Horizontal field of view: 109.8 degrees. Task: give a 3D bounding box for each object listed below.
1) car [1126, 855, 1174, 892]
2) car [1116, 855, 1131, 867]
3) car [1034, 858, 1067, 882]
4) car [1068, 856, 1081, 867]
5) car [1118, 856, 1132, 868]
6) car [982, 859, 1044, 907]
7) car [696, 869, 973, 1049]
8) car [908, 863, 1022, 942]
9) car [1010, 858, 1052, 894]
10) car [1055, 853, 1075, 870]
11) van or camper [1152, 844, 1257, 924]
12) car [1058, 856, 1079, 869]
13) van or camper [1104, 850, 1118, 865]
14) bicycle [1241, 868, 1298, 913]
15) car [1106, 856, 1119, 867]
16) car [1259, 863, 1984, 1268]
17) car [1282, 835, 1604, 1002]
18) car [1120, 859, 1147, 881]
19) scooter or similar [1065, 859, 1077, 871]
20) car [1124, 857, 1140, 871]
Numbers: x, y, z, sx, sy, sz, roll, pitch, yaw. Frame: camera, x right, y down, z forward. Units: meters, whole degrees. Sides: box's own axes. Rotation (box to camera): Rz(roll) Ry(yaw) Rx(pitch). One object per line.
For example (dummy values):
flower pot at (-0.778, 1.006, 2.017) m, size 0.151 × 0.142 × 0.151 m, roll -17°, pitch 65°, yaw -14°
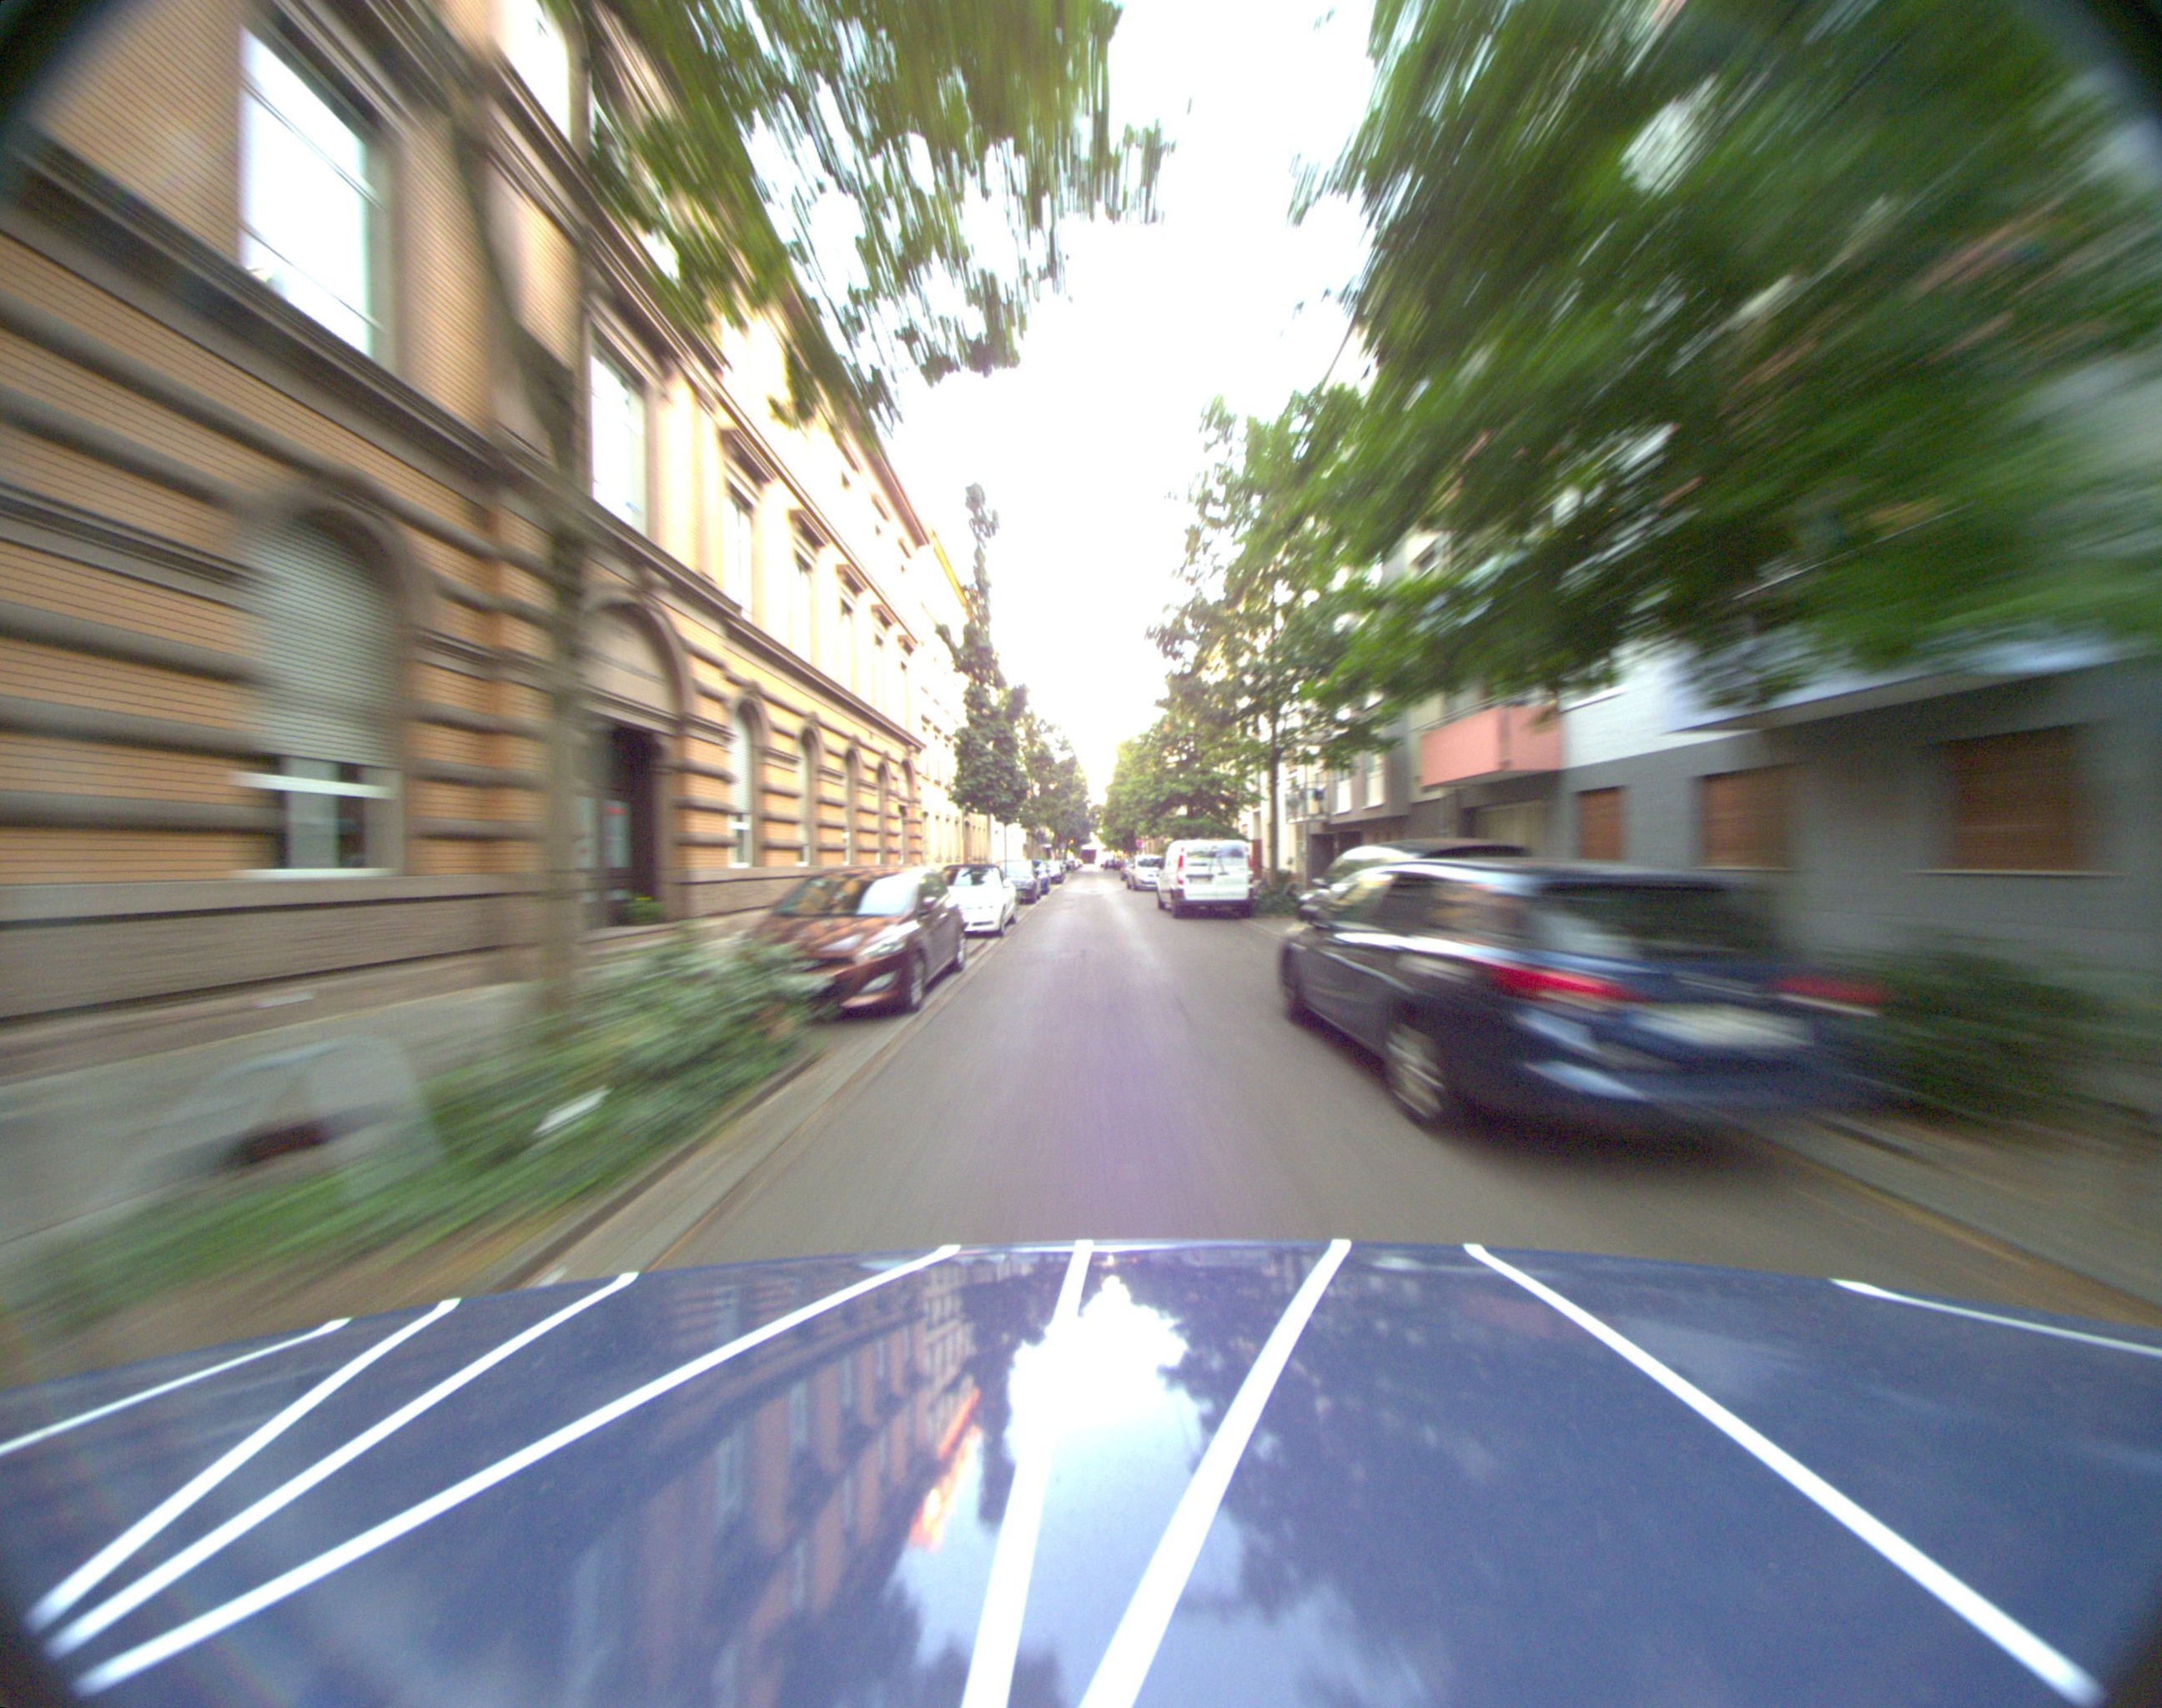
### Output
car at (3.127, 0.852, 35.112) m, size 1.668 × 1.554 × 3.999 m, roll -1°, pitch 0°, yaw -2°
car at (5.789, 0.992, 103.369) m, size 1.695 × 1.493 × 3.711 m, roll -3°, pitch 0°, yaw 0°
car at (-1.857, 0.989, 47.656) m, size 1.771 × 1.406 × 4.474 m, roll 1°, pitch 0°, yaw 1°
car at (-0.971, 1.101, 113.099) m, size 1.737 × 1.482 × 4.104 m, roll -1°, pitch 0°, yaw 1°
car at (5.774, 0.997, 99.545) m, size 1.523 × 1.493 × 3.561 m, roll -3°, pitch 0°, yaw 1°
car at (-2.226, 0.915, 25.844) m, size 1.716 × 1.469 × 4.192 m, roll -1°, pitch 0°, yaw 0°
car at (-2.433, 0.954, 8.672) m, size 1.726 × 1.441 × 4.214 m, roll 0°, pitch 0°, yaw 1°
car at (-2.320, 0.925, 16.289) m, size 1.698 × 1.393 × 4.646 m, roll 0°, pitch 0°, yaw 0°
car at (-2.099, 0.900, 32.809) m, size 1.632 × 1.458 × 4.245 m, roll -1°, pitch 0°, yaw -1°
car at (-1.782, 0.880, 85.874) m, size 2.018 × 1.822 × 4.811 m, roll 1°, pitch 0°, yaw 1°
van or camper at (3.058, 0.704, 19.847) m, size 1.881 × 1.832 × 4.752 m, roll -1°, pitch 0°, yaw -1°
car at (-1.673, 1.171, 103.716) m, size 2.804 × 1.590 × 1.801 m, roll 2°, pitch 0°, yaw 1°
van or camper at (5.010, 0.598, 127.762) m, size 2.225 × 2.416 × 5.660 m, roll -1°, pitch 0°, yaw 1°
bicycle at (5.177, 0.973, 20.825) m, size 0.697 × 1.157 × 1.827 m, roll 0°, pitch 0°, yaw 43°
car at (4.443, 1.040, 107.704) m, size 1.728 × 1.564 × 4.220 m, roll -1°, pitch 0°, yaw 1°
car at (2.689, 0.873, 5.284) m, size 1.835 × 1.508 × 4.516 m, roll -1°, pitch 0°, yaw 0°
car at (4.396, 0.672, 10.317) m, size 1.998 × 1.637 × 4.922 m, roll -3°, pitch 0°, yaw 1°
car at (3.560, 1.047, 51.854) m, size 1.584 × 1.411 × 3.753 m, roll -1°, pitch 0°, yaw 0°
scooter or similar at (-1.114, 1.180, 81.637) m, size 0.673 × 1.183 × 1.118 m, roll 2°, pitch 1°, yaw 40°
car at (5.778, 1.120, 86.818) m, size 1.680 × 1.598 × 3.862 m, roll -2°, pitch 0°, yaw 3°
